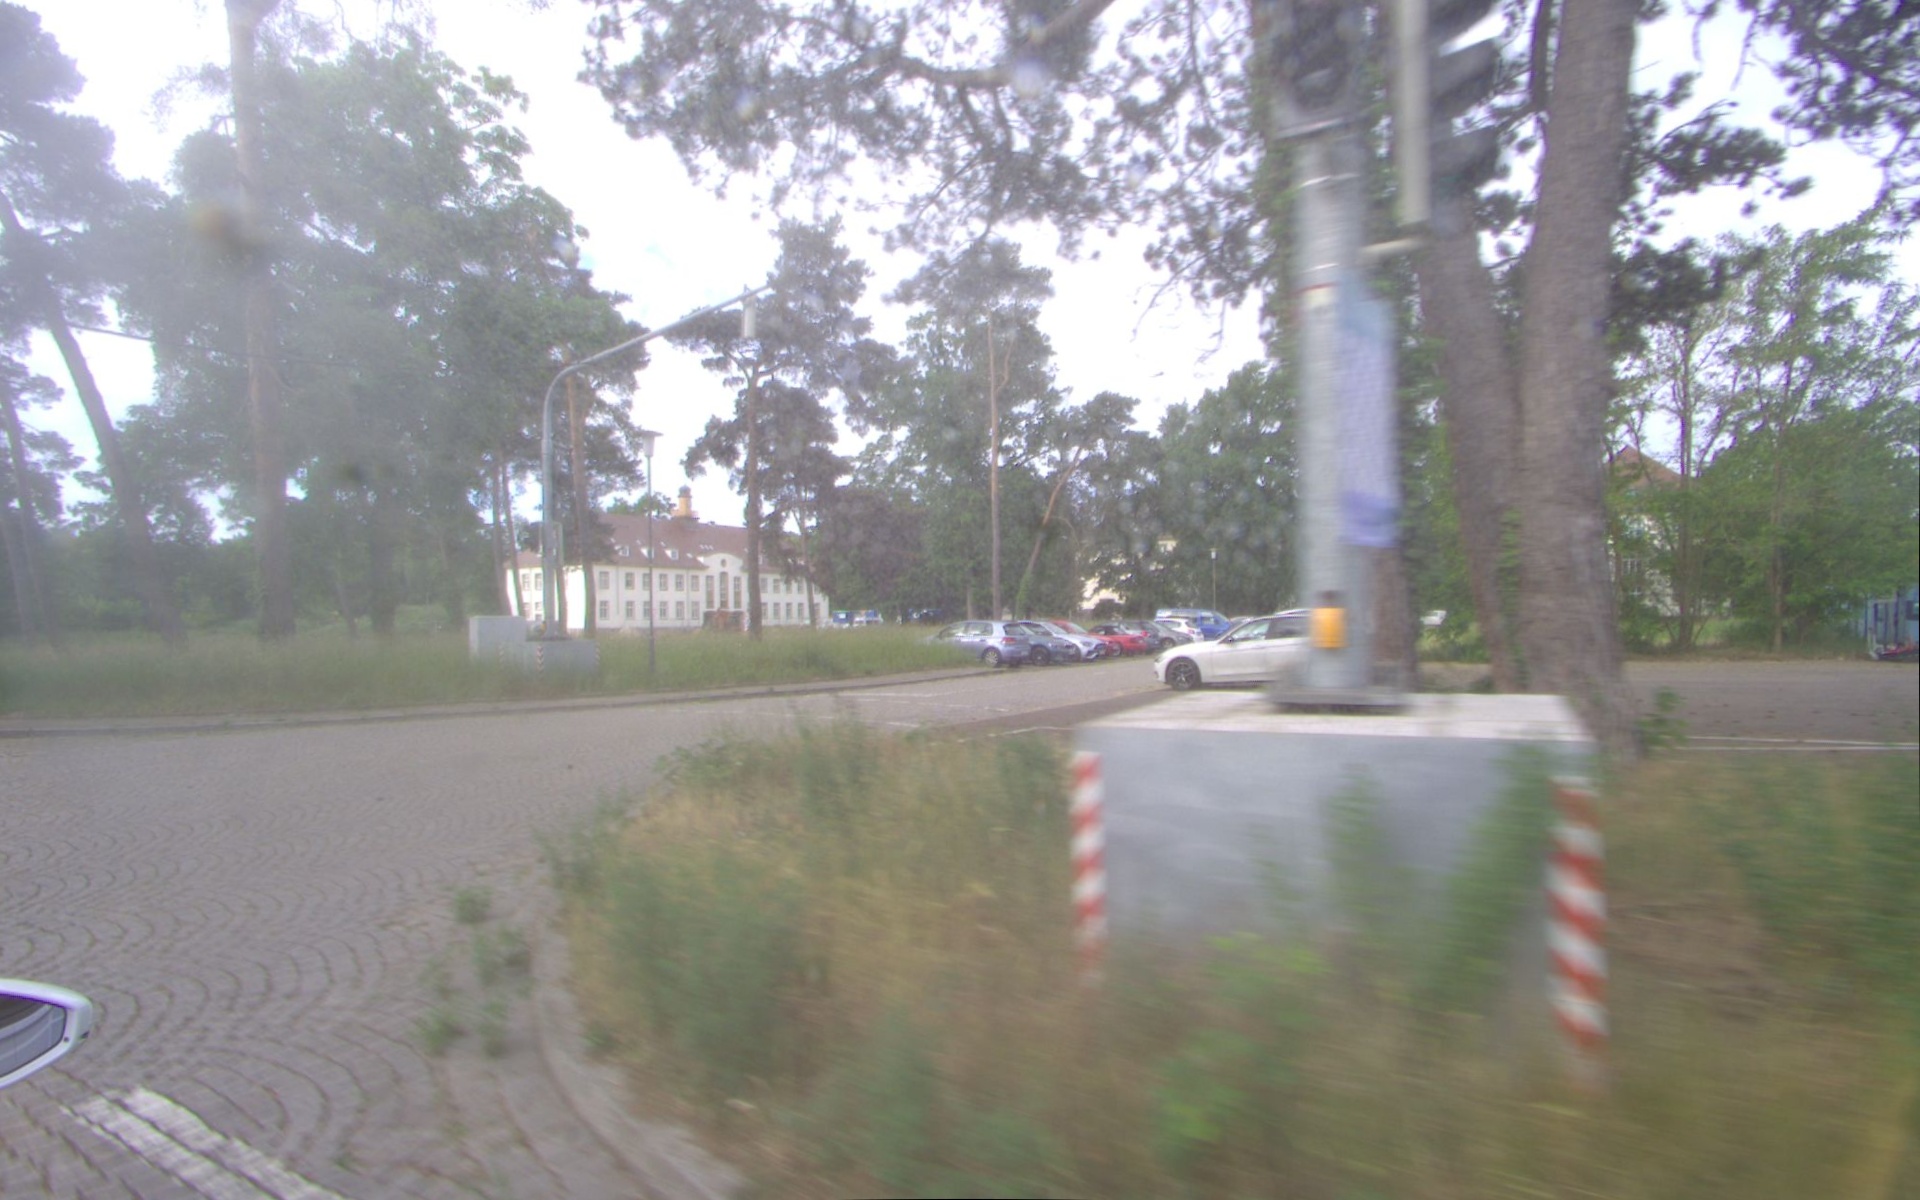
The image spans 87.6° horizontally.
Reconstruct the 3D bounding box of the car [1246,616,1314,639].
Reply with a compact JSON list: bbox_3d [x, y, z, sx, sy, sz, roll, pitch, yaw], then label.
[{"bbox_3d":[21.960,1.884,68.771,4.182,1.541,1.731,-1,-1,32],"label":"car"}]

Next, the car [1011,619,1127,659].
[{"bbox_3d":[4.171,1.485,38.742,4.189,1.487,1.728,-1,-1,37],"label":"car"}]

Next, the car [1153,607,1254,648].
[{"bbox_3d":[12.693,1.443,52.366,4.723,2.052,2.132,-1,-1,33],"label":"car"}]

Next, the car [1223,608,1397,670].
[{"bbox_3d":[9.540,1.083,27.416,4.186,1.504,1.697,-4,-2,33],"label":"car"}]

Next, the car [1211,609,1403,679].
[{"bbox_3d":[8.557,1.102,24.807,4.186,1.504,1.697,-4,-2,33],"label":"car"}]

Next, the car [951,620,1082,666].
[{"bbox_3d":[1.907,1.434,34.113,4.183,1.487,1.730,-1,-1,33],"label":"car"}]

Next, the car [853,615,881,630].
[{"bbox_3d":[-12.398,2.969,133.576,1.899,1.929,4.059,-1,-3,29],"label":"car"}]

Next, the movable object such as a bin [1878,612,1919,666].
[{"bbox_3d":[21.393,0.841,21.557,2.176,1.148,0.961,-1,-2,23],"label":"movable object such as a bin"}]

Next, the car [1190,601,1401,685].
[{"bbox_3d":[7.469,0.978,22.392,4.180,1.625,1.780,-4,-2,28],"label":"car"}]

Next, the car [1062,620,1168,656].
[{"bbox_3d":[6.634,1.607,43.033,4.189,1.491,1.728,-1,-1,37],"label":"car"}]

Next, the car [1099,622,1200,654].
[{"bbox_3d":[8.514,1.680,45.159,4.189,1.408,1.728,-1,-1,37],"label":"car"}]

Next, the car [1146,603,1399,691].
[{"bbox_3d":[6.219,0.982,20.060,4.541,1.504,1.847,-4,-3,28],"label":"car"}]

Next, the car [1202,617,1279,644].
[{"bbox_3d":[16.786,1.796,59.961,4.182,1.541,1.731,-1,-1,32],"label":"car"}]

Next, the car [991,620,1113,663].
[{"bbox_3d":[3.323,1.471,36.481,4.189,1.487,1.728,-1,-1,37],"label":"car"}]

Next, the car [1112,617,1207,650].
[{"bbox_3d":[9.532,1.601,47.912,4.189,1.521,1.611,-1,-1,37],"label":"car"}]

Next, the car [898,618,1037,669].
[{"bbox_3d":[0.211,1.348,32.069,4.183,1.528,1.730,-1,-1,33],"label":"car"}]

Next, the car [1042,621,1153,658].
[{"bbox_3d":[5.547,1.564,40.625,4.189,1.408,1.728,-1,-1,37],"label":"car"}]
